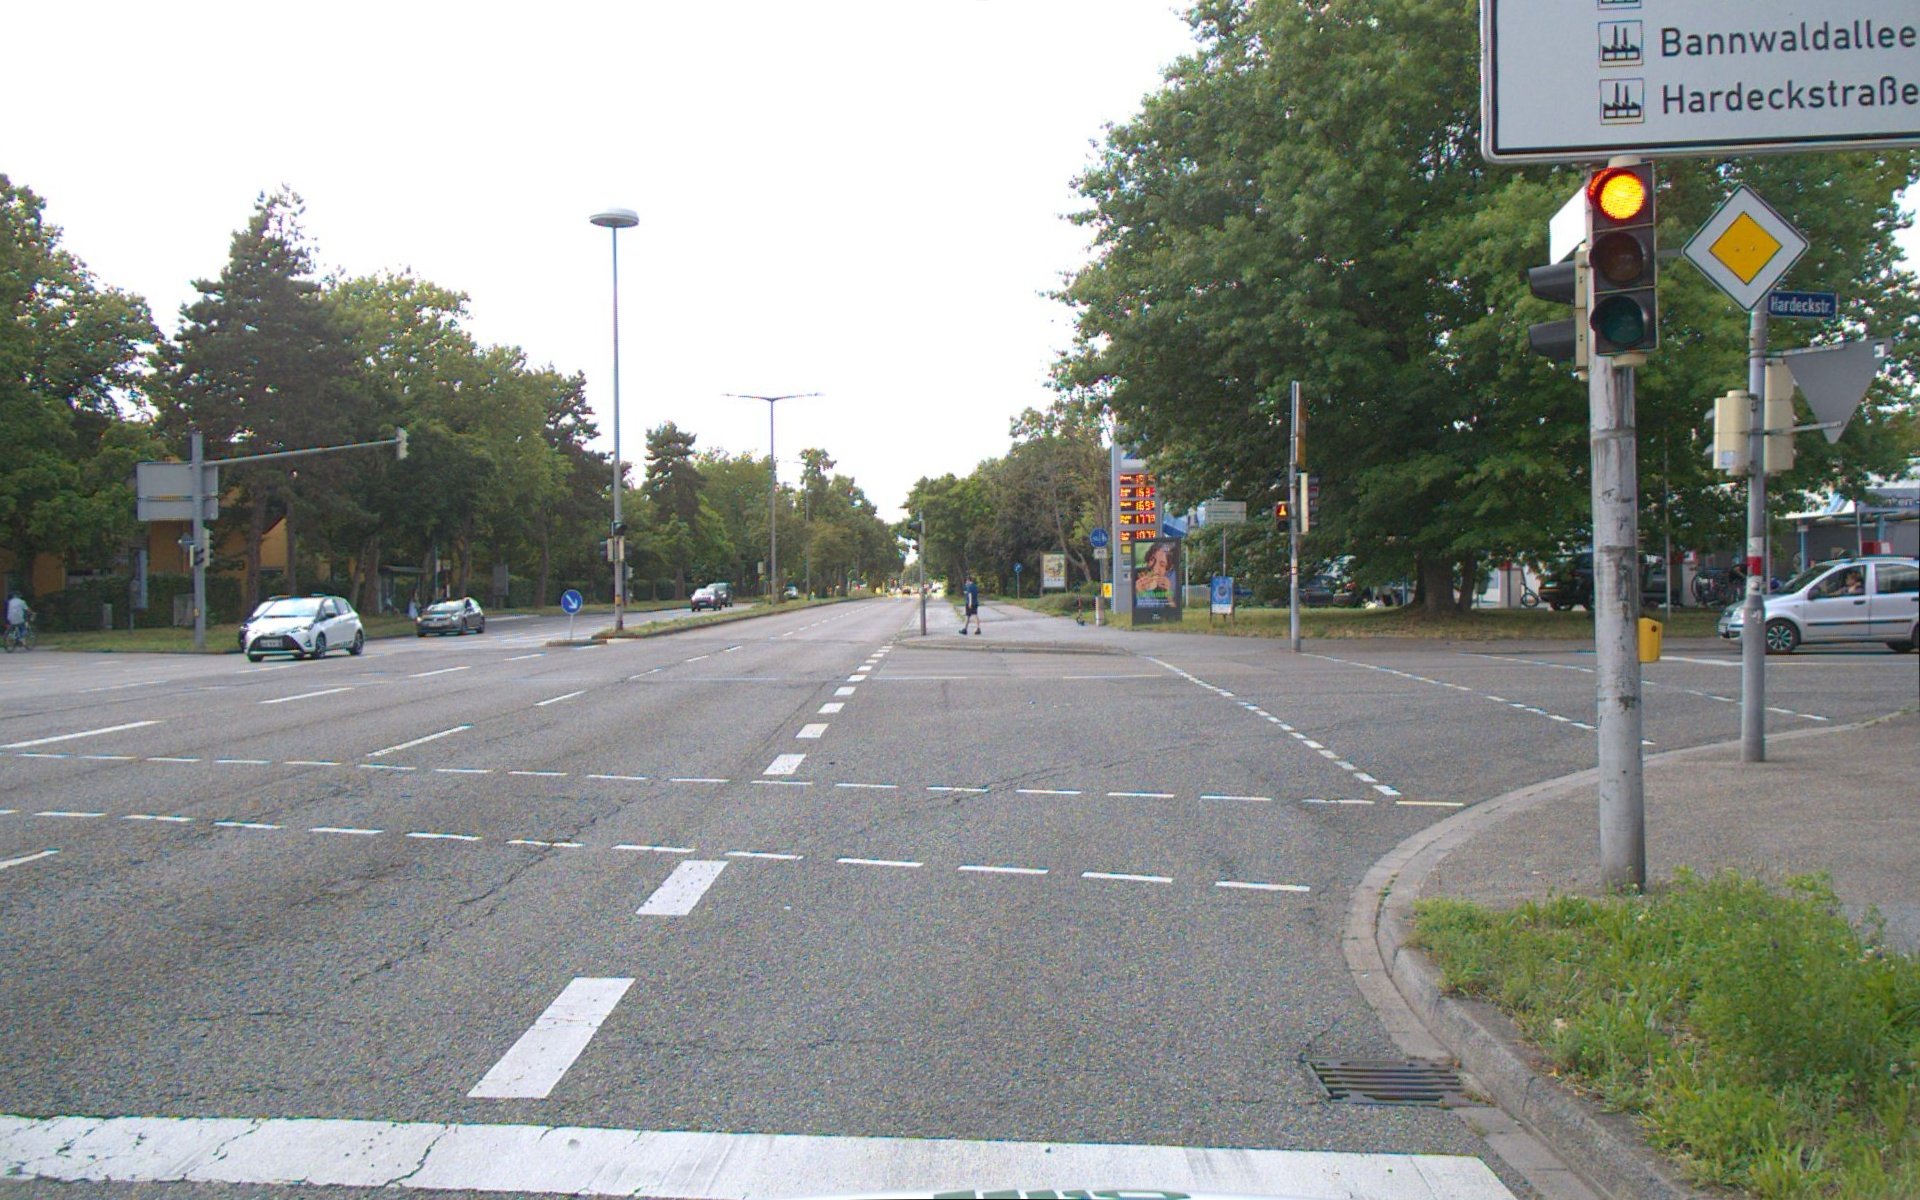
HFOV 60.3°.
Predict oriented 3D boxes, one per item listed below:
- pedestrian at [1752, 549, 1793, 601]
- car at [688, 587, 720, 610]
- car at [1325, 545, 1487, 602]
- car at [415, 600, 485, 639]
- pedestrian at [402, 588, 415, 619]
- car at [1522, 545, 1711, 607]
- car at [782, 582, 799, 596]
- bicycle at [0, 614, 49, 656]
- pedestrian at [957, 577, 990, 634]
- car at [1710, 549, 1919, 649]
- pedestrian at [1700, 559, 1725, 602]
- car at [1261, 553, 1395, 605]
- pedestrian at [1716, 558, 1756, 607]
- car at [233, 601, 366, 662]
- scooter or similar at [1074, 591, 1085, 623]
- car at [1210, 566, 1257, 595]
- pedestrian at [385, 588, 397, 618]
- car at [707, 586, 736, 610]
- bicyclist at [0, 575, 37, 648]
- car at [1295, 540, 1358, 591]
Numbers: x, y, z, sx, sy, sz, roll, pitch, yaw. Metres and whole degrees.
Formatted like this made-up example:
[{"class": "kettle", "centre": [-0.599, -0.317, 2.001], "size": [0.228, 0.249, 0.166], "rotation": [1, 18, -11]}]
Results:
[{"class": "pedestrian", "centre": [20.436, -0.634, 41.602], "size": [0.641, 1.277, 0.753], "rotation": [1, -1, -45]}, {"class": "car", "centre": [-17.355, -0.111, 112.161], "size": [1.736, 1.490, 4.453], "rotation": [-1, 0, -4]}, {"class": "car", "centre": [15.744, -0.932, 58.469], "size": [5.089, 1.858, 2.148], "rotation": [-1, 0, -12]}, {"class": "car", "centre": [-19.607, 0.720, 63.672], "size": [1.562, 1.396, 4.079], "rotation": [-1, 0, -3]}, {"class": "pedestrian", "centre": [-28.093, 0.178, 84.234], "size": [0.560, 1.522, 0.419], "rotation": [1, -1, -16]}, {"class": "car", "centre": [18.322, -0.670, 46.260], "size": [4.469, 1.624, 2.148], "rotation": [-1, 0, -12]}, {"class": "car", "centre": [-21.844, -1.409, 213.741], "size": [1.822, 1.735, 4.454], "rotation": [-1, 0, -2]}, {"class": "bicycle", "centre": [-26.830, 0.986, 47.045], "size": [0.740, 1.138, 2.113], "rotation": [-1, 0, -3]}, {"class": "pedestrian", "centre": [0.382, 0.143, 46.428], "size": [0.713, 1.558, 0.756], "rotation": [-1, 0, -17]}, {"class": "car", "centre": [14.284, -0.020, 26.914], "size": [3.520, 1.543, 1.560], "rotation": [-1, 0, 12]}, {"class": "pedestrian", "centre": [27.772, -0.725, 61.016], "size": [0.640, 1.571, 0.624], "rotation": [-1, 0, 6]}, {"class": "car", "centre": [15.416, -0.886, 69.396], "size": [5.079, 2.039, 2.152], "rotation": [-1, 0, -5]}, {"class": "pedestrian", "centre": [19.742, -0.448, 42.088], "size": [0.641, 1.210, 0.753], "rotation": [1, -1, -45]}, {"class": "car", "centre": [-15.793, 0.722, 39.743], "size": [1.717, 1.331, 3.693], "rotation": [-2, 0, -1]}, {"class": "scooter or similar", "centre": [3.755, 0.212, 51.994], "size": [0.216, 0.996, 1.272], "rotation": [-1, 0, -1]}, {"class": "car", "centre": [14.545, -1.037, 88.086], "size": [1.715, 1.479, 3.739], "rotation": [-1, 0, -3]}, {"class": "pedestrian", "centre": [-28.950, 0.163, 84.172], "size": [0.560, 1.522, 0.419], "rotation": [1, -1, -16]}, {"class": "car", "centre": [-19.841, -0.204, 137.578], "size": [1.729, 1.889, 4.816], "rotation": [-1, 1, -1]}, {"class": "bicyclist", "centre": [-26.842, 0.314, 46.973], "size": [0.736, 2.049, 0.831], "rotation": [-1, 0, -3]}, {"class": "car", "centre": [18.827, -1.730, 85.210], "size": [1.715, 2.496, 5.747], "rotation": [-1, 0, -2]}]
